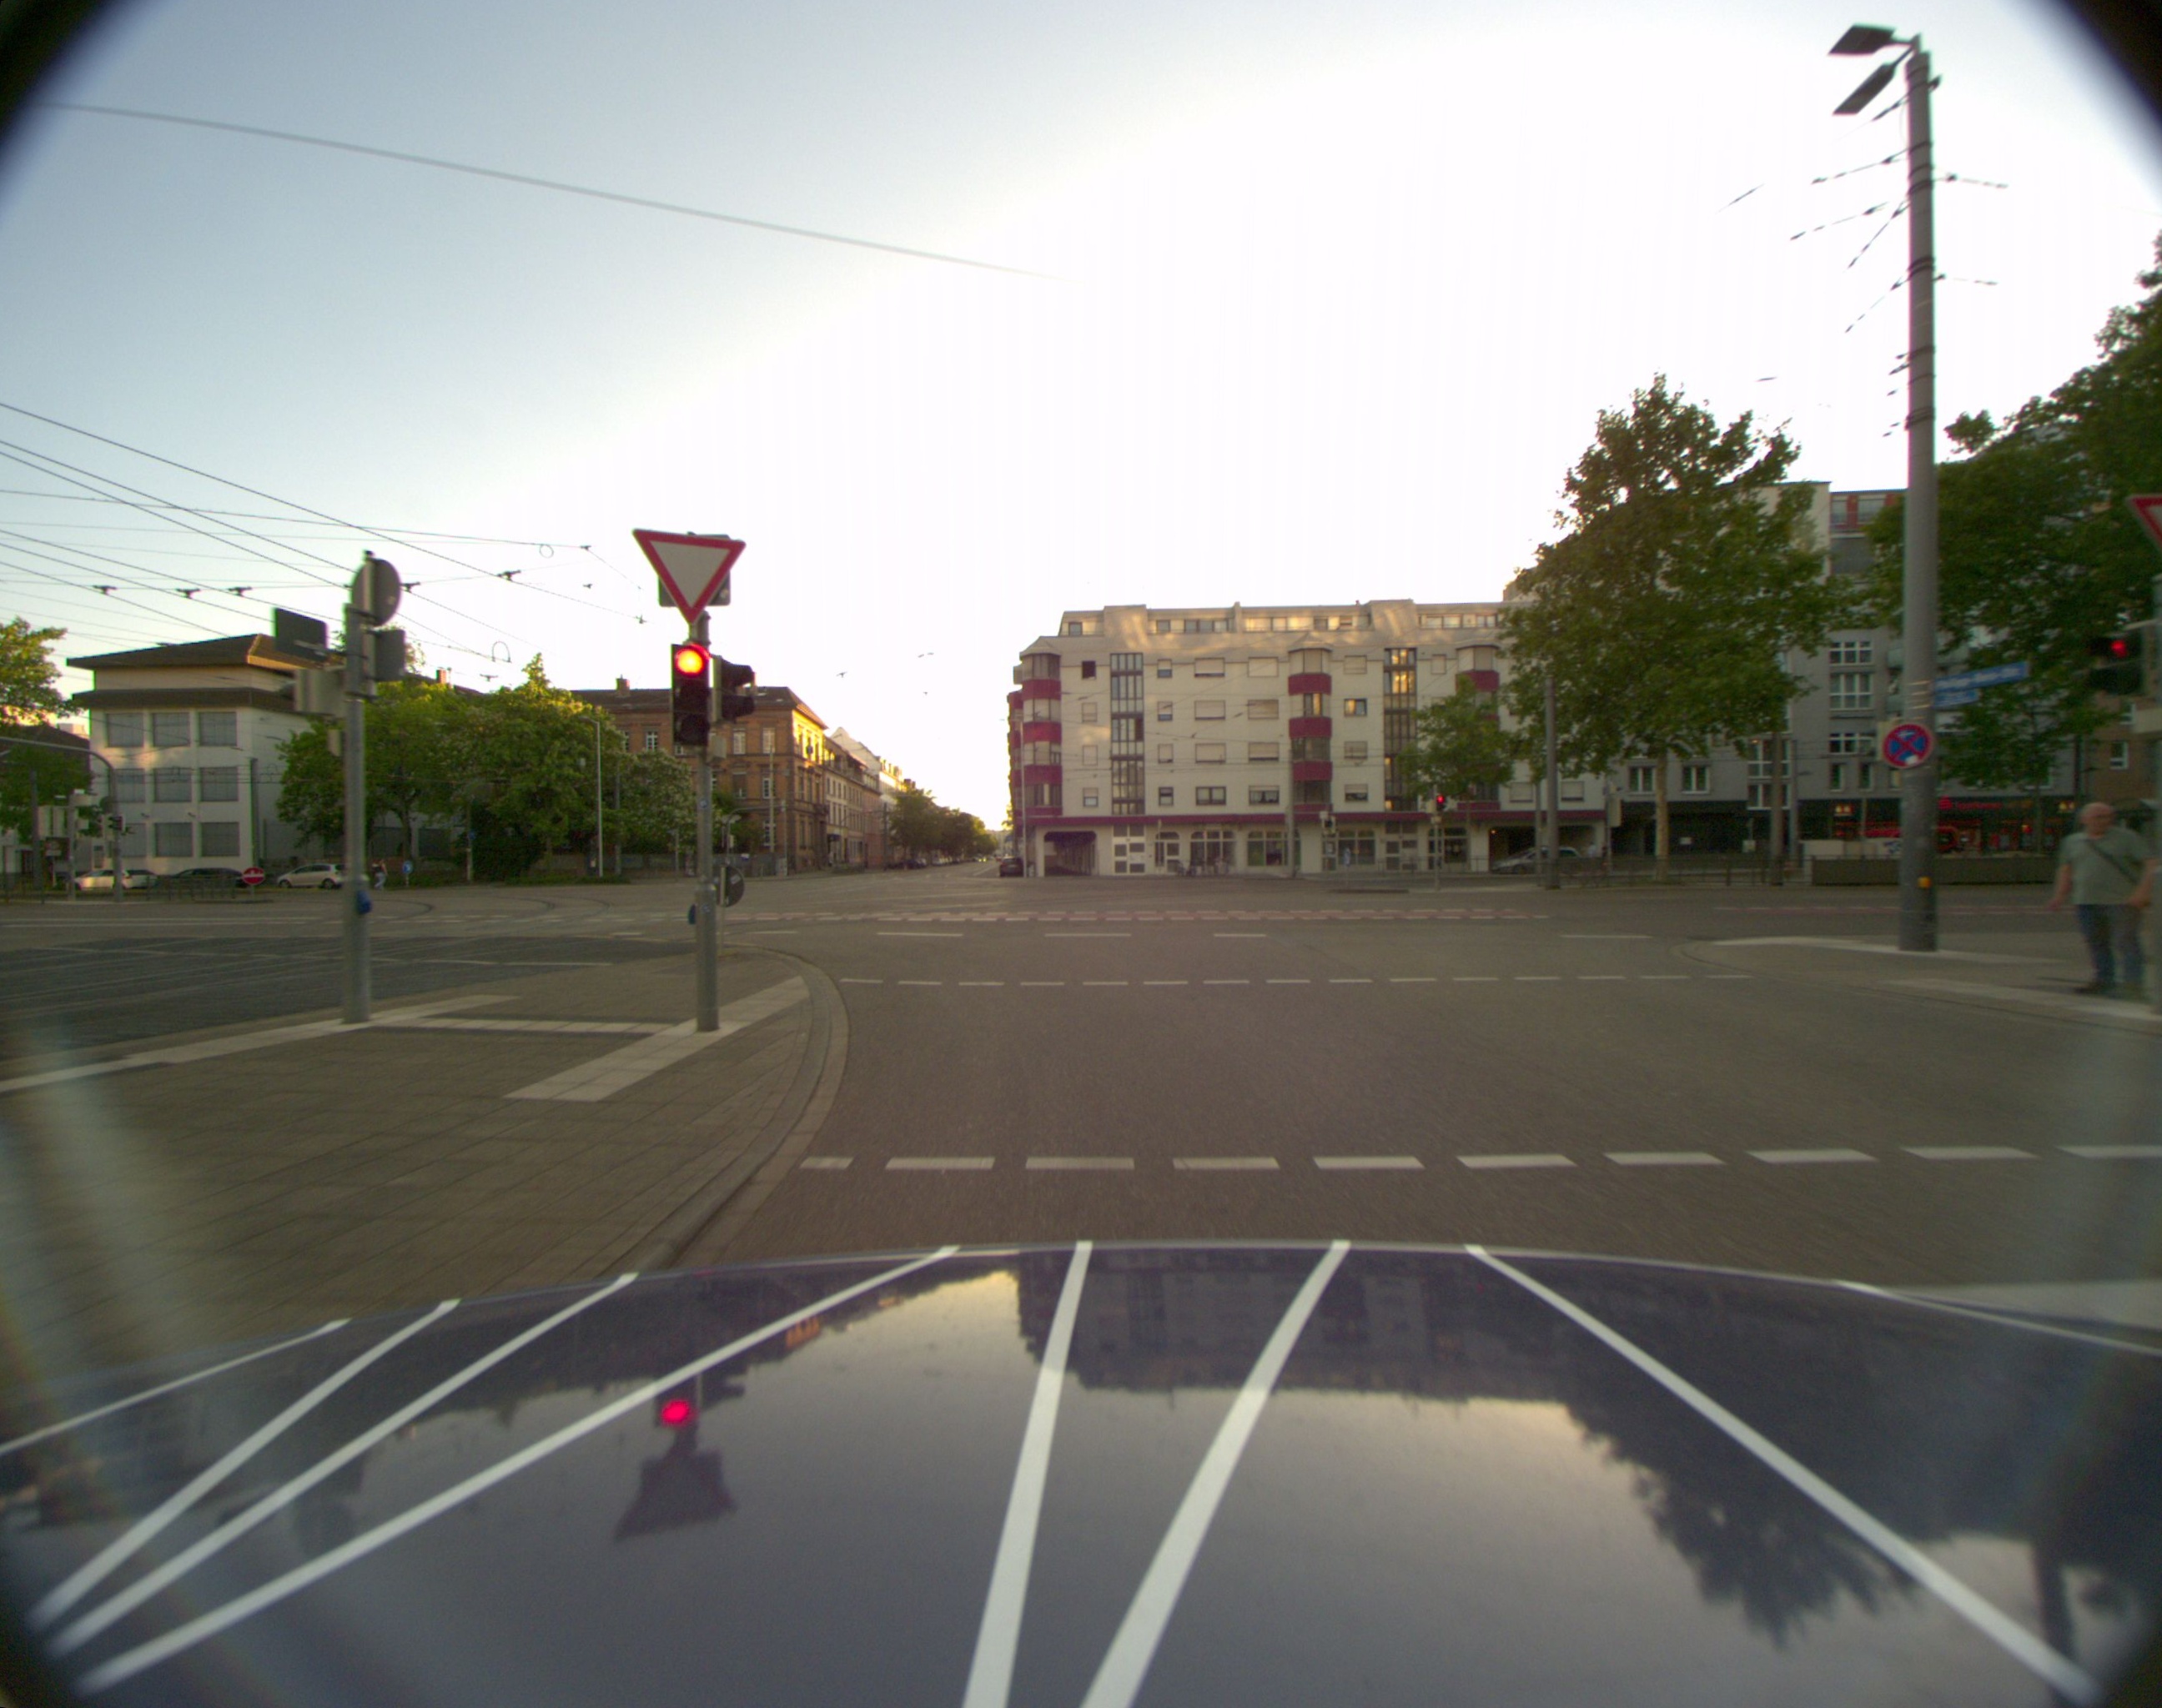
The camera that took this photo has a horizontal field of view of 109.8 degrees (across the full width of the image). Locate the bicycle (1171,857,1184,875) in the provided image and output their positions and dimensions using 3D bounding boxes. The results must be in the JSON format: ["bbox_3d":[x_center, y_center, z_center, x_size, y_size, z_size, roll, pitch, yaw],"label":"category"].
[{"bbox_3d":[5.790,0.734,45.492,0.515,1.040,1.903,-1,0,0],"label":"bicycle"}]

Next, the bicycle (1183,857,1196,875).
[{"bbox_3d":[6.476,0.721,45.507,0.515,1.040,1.903,-1,0,0],"label":"bicycle"}]

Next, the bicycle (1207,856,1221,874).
[{"bbox_3d":[7.969,0.659,45.511,0.515,1.040,1.903,-1,0,0],"label":"bicycle"}]

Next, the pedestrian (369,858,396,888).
[{"bbox_3d":[-36.238,0.973,39.400,0.579,1.517,0.817,-1,1,6],"label":"pedestrian"}]

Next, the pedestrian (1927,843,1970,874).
[{"bbox_3d":[41.568,0.194,36.411,0.997,1.445,0.938,-1,1,2],"label":"pedestrian"}]

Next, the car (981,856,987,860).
[{"bbox_3d":[-29.961,1.234,235.586,1.786,1.448,4.294,-1,0,-6],"label":"car"}]

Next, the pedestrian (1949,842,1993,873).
[{"bbox_3d":[42.561,0.180,36.360,0.997,1.445,0.938,-1,1,2],"label":"pedestrian"}]

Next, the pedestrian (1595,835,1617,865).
[{"bbox_3d":[32.045,-0.252,46.386,0.835,1.796,0.692,-1,1,4],"label":"pedestrian"}]

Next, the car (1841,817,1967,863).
[{"bbox_3d":[47.554,-0.794,43.984,5.077,2.526,1.852,-1,1,3],"label":"car"}]

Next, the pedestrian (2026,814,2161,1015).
[{"bbox_3d":[9.062,0.509,6.798,0.545,1.691,0.709,-1,1,30],"label":"pedestrian"}]

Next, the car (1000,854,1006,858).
[{"bbox_3d":[-24.565,0.618,239.125,1.786,1.448,4.294,-1,0,-7],"label":"car"}]

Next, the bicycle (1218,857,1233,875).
[{"bbox_3d":[8.576,0.695,45.252,0.515,1.040,1.903,-1,0,0],"label":"bicycle"}]

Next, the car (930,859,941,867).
[{"bbox_3d":[-26.907,1.590,140.422,1.787,1.448,4.293,-1,0,-9],"label":"car"}]

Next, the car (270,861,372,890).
[{"bbox_3d":[-46.618,1.314,46.664,4.229,1.623,2.000,-1,0,0],"label":"car"}]

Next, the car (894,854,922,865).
[{"bbox_3d":[-24.499,0.731,107.905,3.774,1.477,1.905,-1,0,-9],"label":"car"}]

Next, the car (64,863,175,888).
[{"bbox_3d":[-59.096,1.318,46.760,4.229,1.416,2.000,-1,0,0],"label":"car"}]

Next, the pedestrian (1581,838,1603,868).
[{"bbox_3d":[30.884,-0.059,45.938,0.835,1.796,0.692,-1,1,4],"label":"pedestrian"}]

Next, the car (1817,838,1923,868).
[{"bbox_3d":[43.832,-0.033,42.285,4.098,1.586,1.666,-1,0,2],"label":"car"}]

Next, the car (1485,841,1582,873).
[{"bbox_3d":[23.760,0.160,39.971,4.098,1.586,1.666,-1,0,2],"label":"car"}]

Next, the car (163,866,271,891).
[{"bbox_3d":[-53.285,1.488,46.920,4.357,1.416,2.000,-1,0,0],"label":"car"}]

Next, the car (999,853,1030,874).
[{"bbox_3d":[-4.862,0.674,55.902,2.007,1.448,4.296,-1,0,-2],"label":"car"}]

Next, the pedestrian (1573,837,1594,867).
[{"bbox_3d":[30.959,-0.131,46.801,0.835,1.796,0.692,-1,1,4],"label":"pedestrian"}]

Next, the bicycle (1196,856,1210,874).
[{"bbox_3d":[7.328,0.664,45.562,0.515,1.040,1.903,-1,0,0],"label":"bicycle"}]

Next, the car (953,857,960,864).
[{"bbox_3d":[-30.501,1.579,186.209,1.787,1.427,4.293,-1,0,-9],"label":"car"}]
